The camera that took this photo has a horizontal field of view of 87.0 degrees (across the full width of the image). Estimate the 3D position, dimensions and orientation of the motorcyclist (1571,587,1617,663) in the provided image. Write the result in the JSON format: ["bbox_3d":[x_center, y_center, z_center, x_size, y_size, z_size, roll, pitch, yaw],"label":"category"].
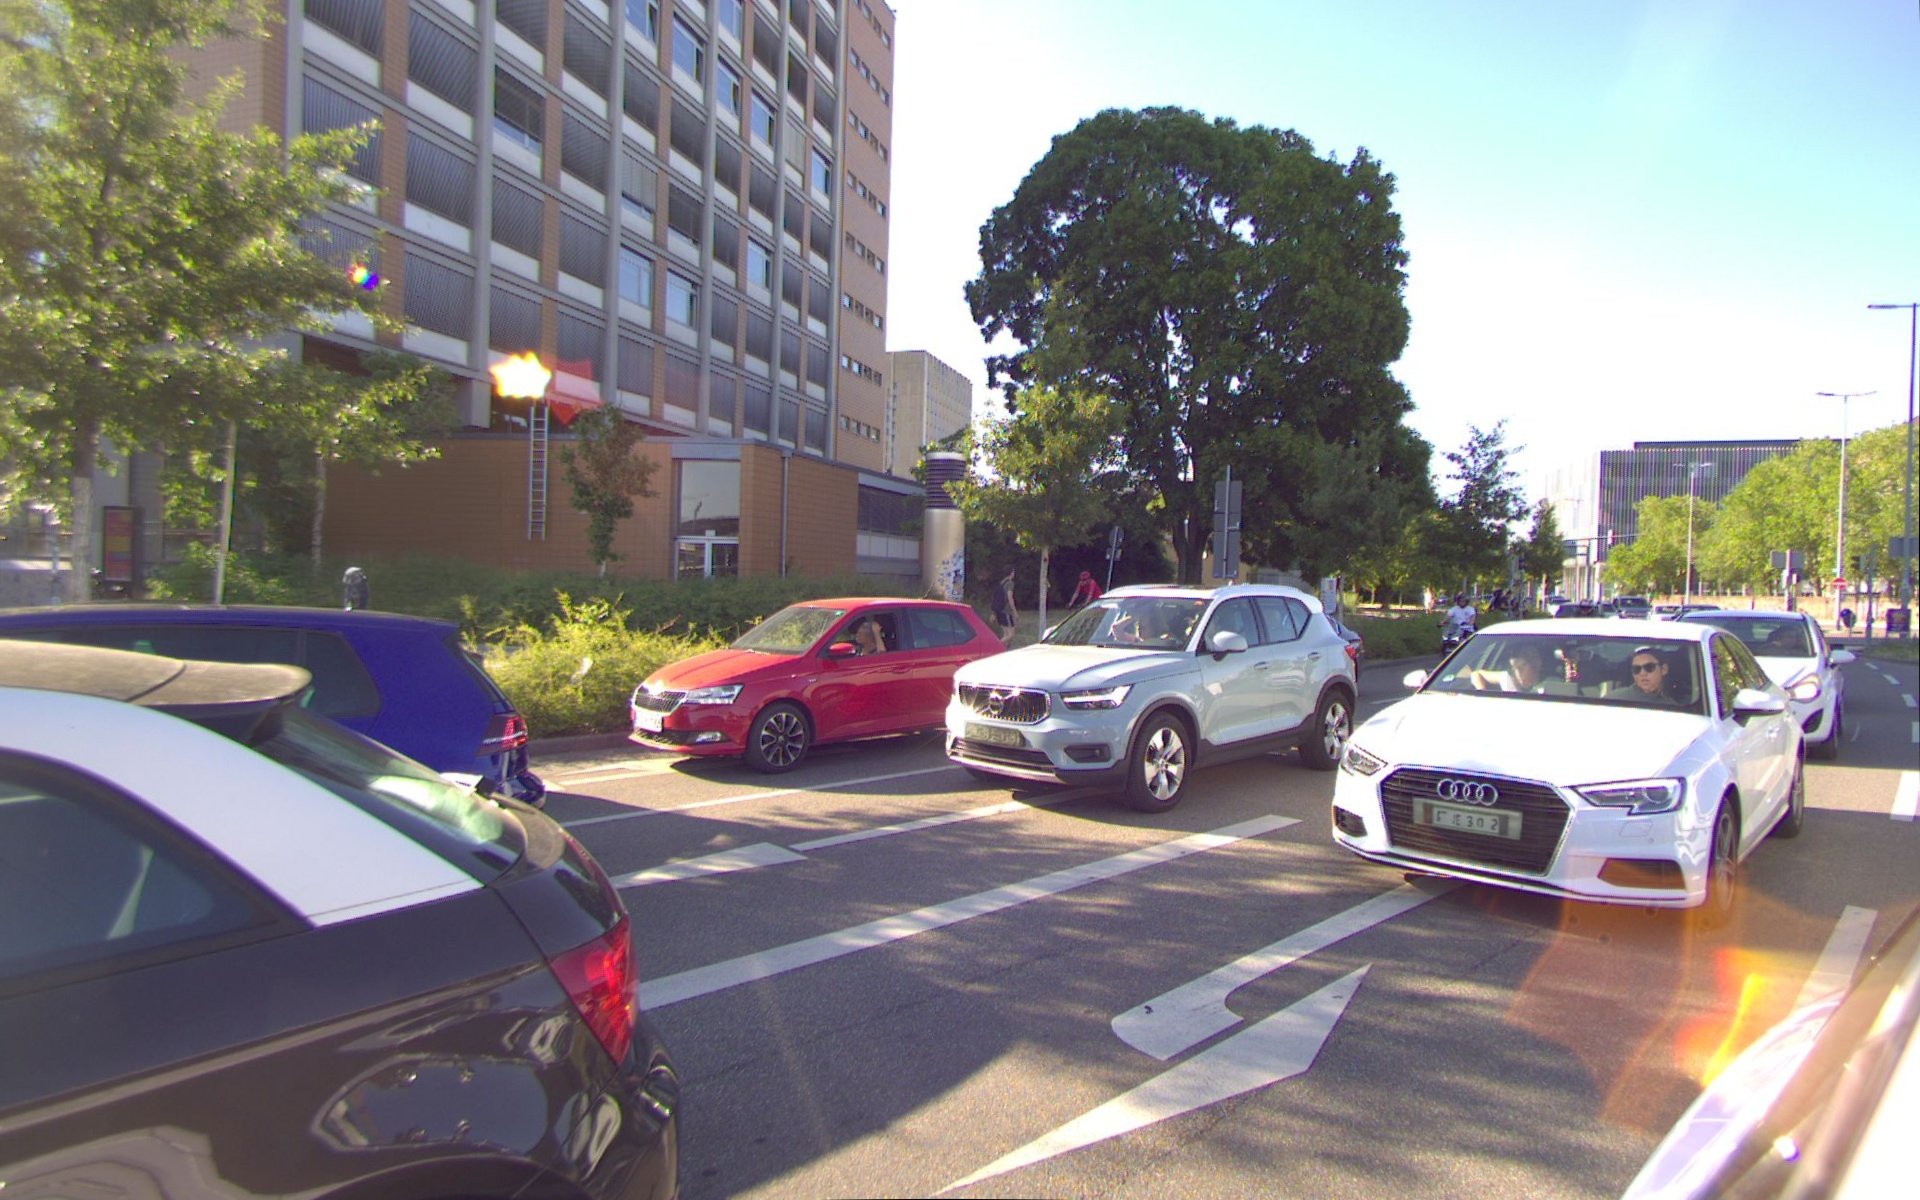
[{"bbox_3d":[13.749,0.523,21.931,0.709,1.610,0.679,0,0,45],"label":"motorcyclist"}]

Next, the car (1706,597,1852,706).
[{"bbox_3d":[13.117,0.712,16.130,1.622,1.478,3.981,0,0,42],"label":"car"}]

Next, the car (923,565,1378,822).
[{"bbox_3d":[1.781,0.570,8.468,4.153,1.641,1.625,-1,0,-43],"label":"car"}]

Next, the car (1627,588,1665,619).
[{"bbox_3d":[43.015,0.189,63.446,1.867,1.838,3.950,2,1,35],"label":"car"}]

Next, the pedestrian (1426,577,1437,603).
[{"bbox_3d":[27.944,-0.581,60.028,0.543,1.549,0.598,0,0,30],"label":"pedestrian"}]

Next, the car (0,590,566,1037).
[{"bbox_3d":[-3.730,0.686,3.750,3.930,1.422,1.626,-1,0,-41],"label":"car"}]

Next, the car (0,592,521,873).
[{"bbox_3d":[-5.209,0.675,6.059,4.434,1.422,1.725,-1,1,-42],"label":"car"}]

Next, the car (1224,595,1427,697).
[{"bbox_3d":[6.269,0.677,17.102,1.750,1.478,4.123,0,1,43],"label":"car"}]

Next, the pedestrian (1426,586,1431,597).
[{"bbox_3d":[63.664,-1.150,137.547,0.477,1.504,0.409,1,1,-41],"label":"pedestrian"}]

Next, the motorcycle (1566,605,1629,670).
[{"bbox_3d":[13.953,0.794,22.128,0.716,1.321,2.199,0,0,44],"label":"motorcycle"}]

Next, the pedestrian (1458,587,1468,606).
[{"bbox_3d":[54.287,-0.426,109.204,0.828,2.039,1.061,0,0,19],"label":"pedestrian"}]

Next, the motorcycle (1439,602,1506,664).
[{"bbox_3d":[11.667,0.720,23.011,0.716,1.321,2.199,0,0,44],"label":"motorcycle"}]

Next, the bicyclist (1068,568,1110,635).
[{"bbox_3d":[3.105,0.023,24.322,0.615,1.580,0.858,0,0,42],"label":"bicyclist"}]

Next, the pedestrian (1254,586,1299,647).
[{"bbox_3d":[9.248,0.474,29.547,1.005,1.742,0.873,0,0,39],"label":"pedestrian"}]

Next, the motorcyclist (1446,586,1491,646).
[{"bbox_3d":[11.449,0.349,22.799,0.716,1.321,0.724,0,0,45],"label":"motorcyclist"}]

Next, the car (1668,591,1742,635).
[{"bbox_3d":[28.677,0.446,39.067,1.731,1.564,3.960,2,1,29],"label":"car"}]

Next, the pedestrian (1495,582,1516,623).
[{"bbox_3d":[21.242,0.091,39.397,0.593,1.615,0.586,0,0,41],"label":"pedestrian"}]

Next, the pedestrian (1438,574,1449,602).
[{"bbox_3d":[28.507,-0.709,59.616,0.543,1.627,0.598,0,0,30],"label":"pedestrian"}]

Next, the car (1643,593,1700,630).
[{"bbox_3d":[35.603,0.524,50.723,1.730,1.727,3.962,2,1,27],"label":"car"}]

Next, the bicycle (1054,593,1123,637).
[{"bbox_3d":[3.115,0.334,24.377,0.657,0.975,2.005,2,2,41],"label":"bicycle"}]

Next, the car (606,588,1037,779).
[{"bbox_3d":[-1.185,0.631,9.853,3.974,1.478,1.625,-1,0,-43],"label":"car"}]

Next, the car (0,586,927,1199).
[{"bbox_3d":[-2.070,0.702,1.243,3.930,1.422,1.626,-1,0,-41],"label":"car"}]

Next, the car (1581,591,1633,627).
[{"bbox_3d":[30.487,0.398,47.767,1.730,1.564,3.961,2,1,28],"label":"car"}]

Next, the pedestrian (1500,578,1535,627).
[{"bbox_3d":[23.741,0.102,43.099,1.137,2.039,1.268,0,0,39],"label":"pedestrian"}]

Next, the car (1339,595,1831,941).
[{"bbox_3d":[3.953,0.691,6.128,3.769,1.422,1.625,-1,0,-43],"label":"car"}]

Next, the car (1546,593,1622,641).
[{"bbox_3d":[21.772,0.540,35.242,1.738,1.544,3.943,2,2,39],"label":"car"}]

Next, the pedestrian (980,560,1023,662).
[{"bbox_3d":[0.783,0.206,19.236,0.681,1.910,0.465,0,0,-24],"label":"pedestrian"}]

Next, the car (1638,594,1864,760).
[{"bbox_3d":[8.880,0.690,11.234,1.623,1.478,3.979,0,1,43],"label":"car"}]
